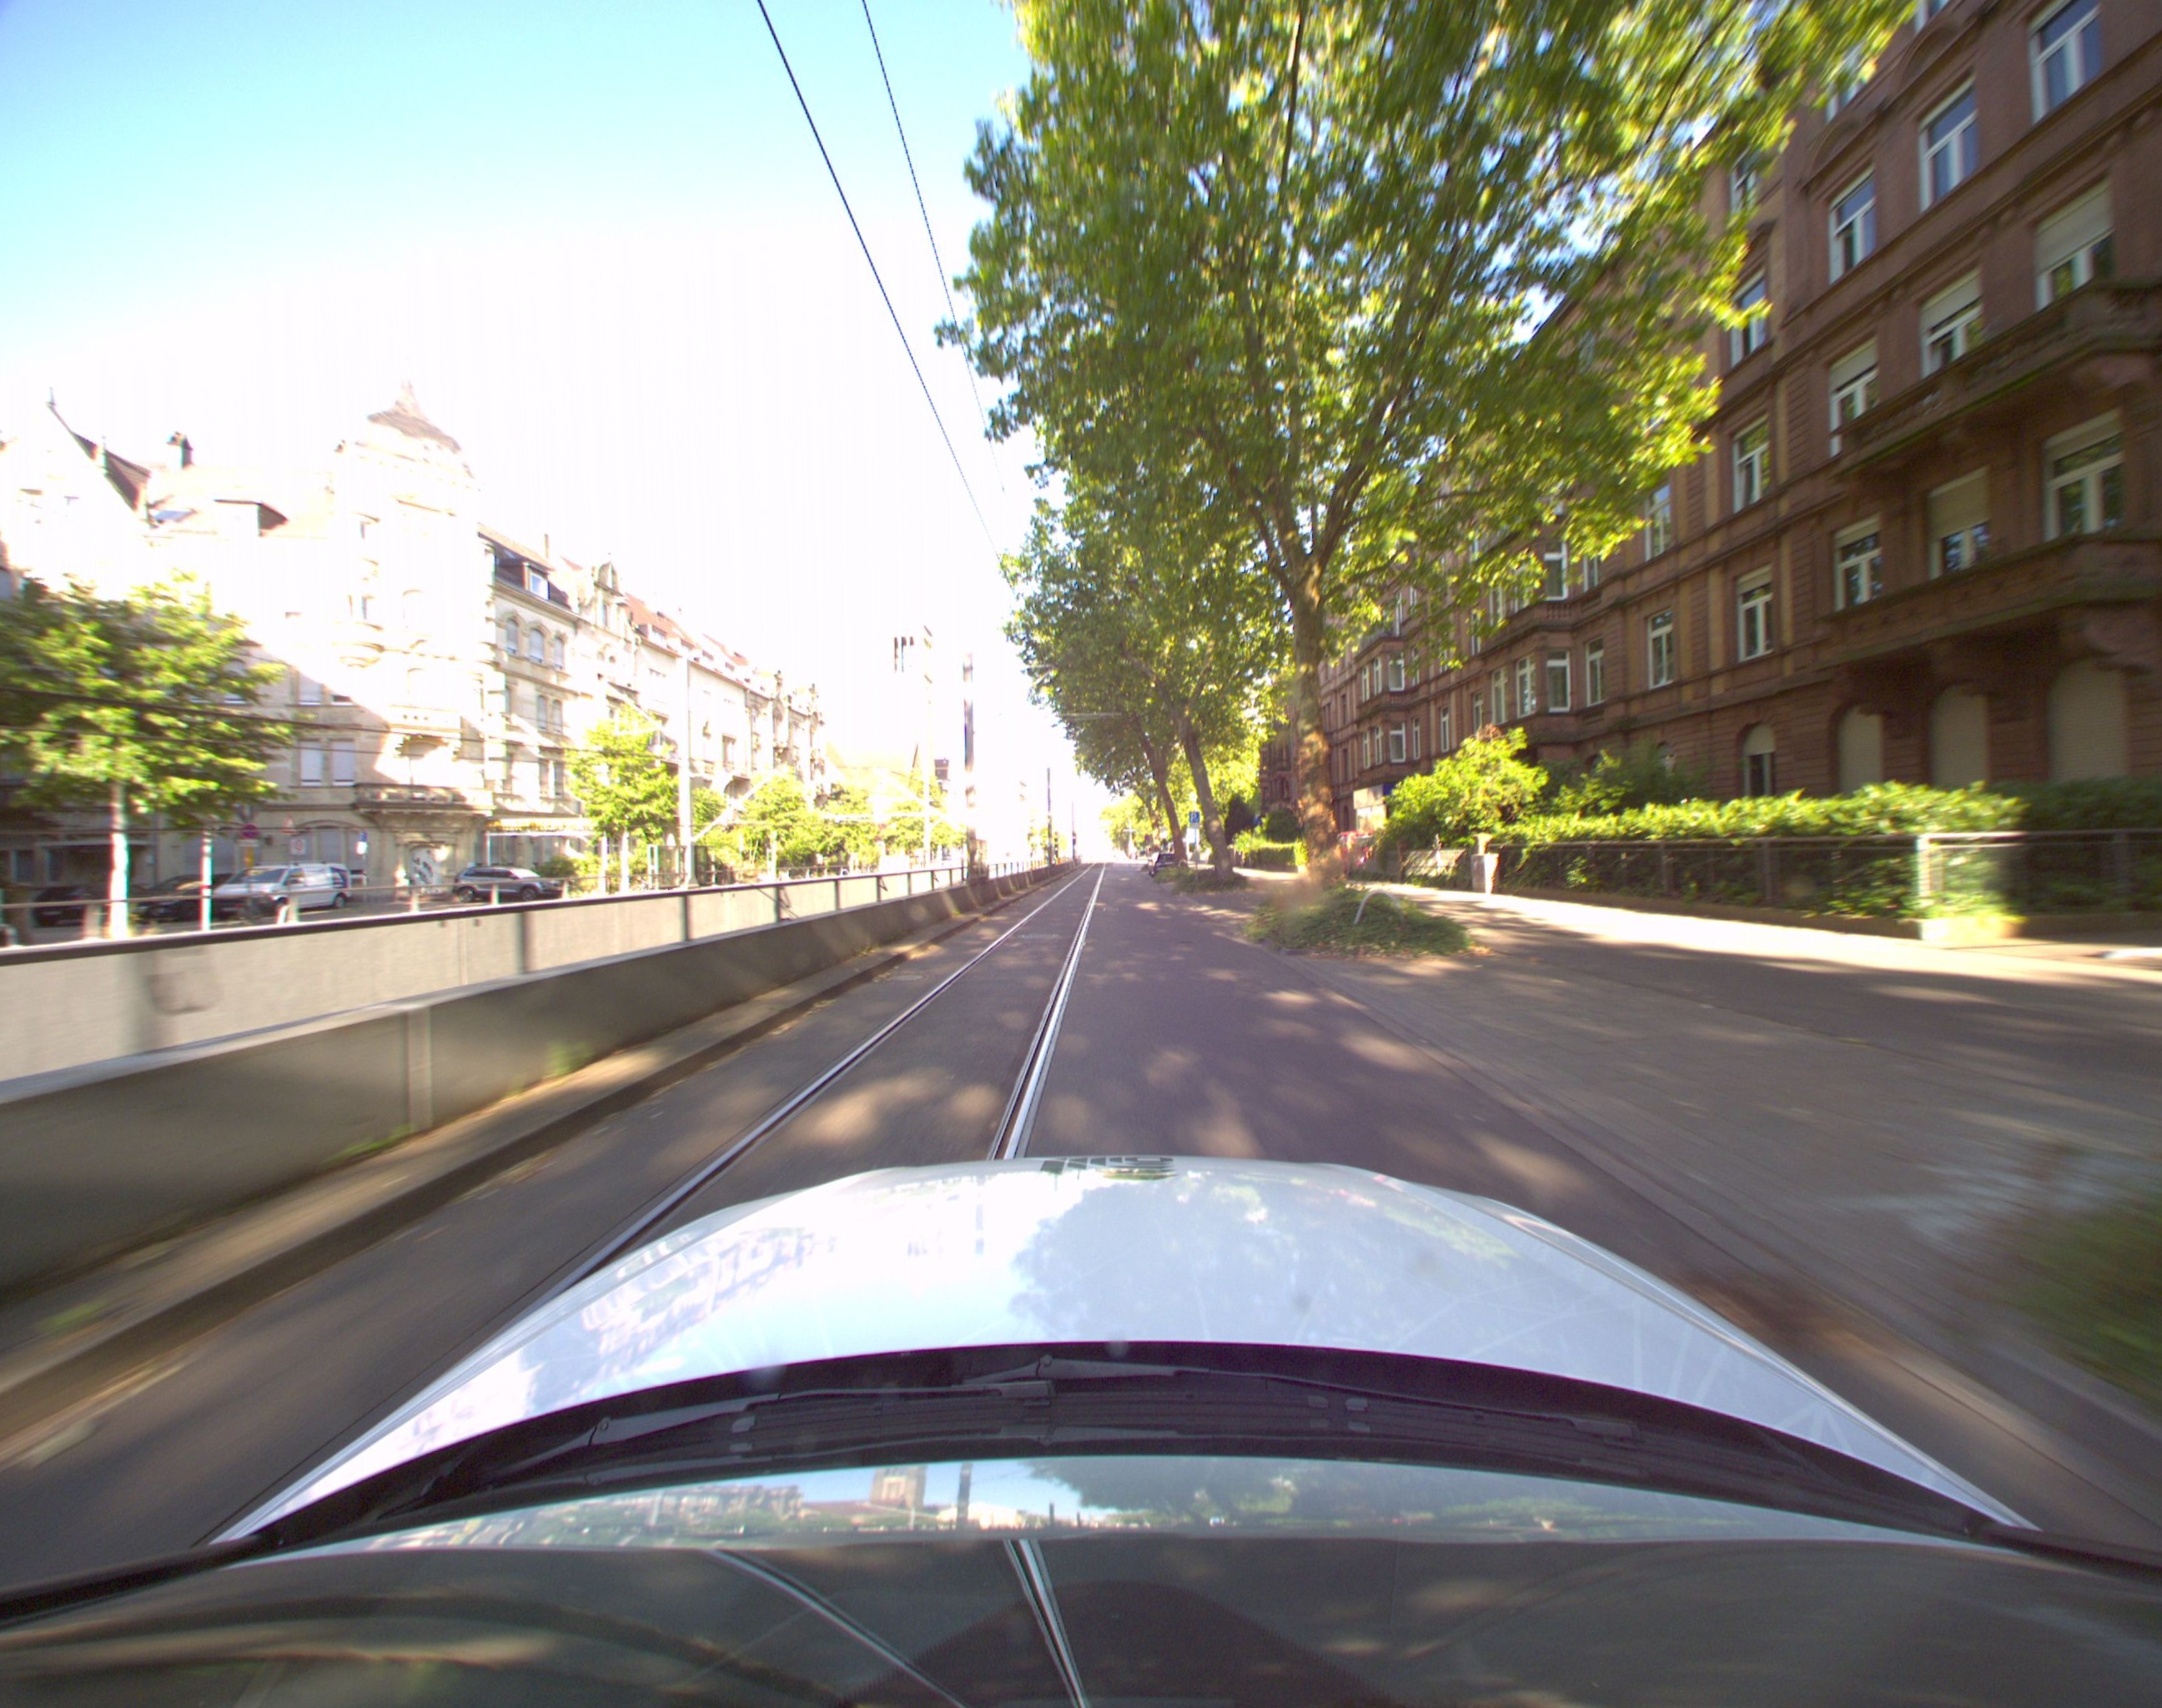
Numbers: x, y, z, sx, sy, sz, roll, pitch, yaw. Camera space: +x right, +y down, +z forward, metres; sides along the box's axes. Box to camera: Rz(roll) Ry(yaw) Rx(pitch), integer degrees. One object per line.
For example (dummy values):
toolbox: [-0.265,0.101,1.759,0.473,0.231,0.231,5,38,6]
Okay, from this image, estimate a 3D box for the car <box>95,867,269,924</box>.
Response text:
car: [-33.529,1.501,30.597,1.993,1.849,4.465,1,0,-10]

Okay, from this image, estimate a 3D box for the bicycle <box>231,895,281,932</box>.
bicycle: [-23.606,1.679,23.326,0.457,1.005,1.926,1,-3,-29]

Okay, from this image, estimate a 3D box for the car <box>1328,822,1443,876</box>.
car: [13.115,-0.207,35.277,4.163,2.013,2.000,-4,0,0]

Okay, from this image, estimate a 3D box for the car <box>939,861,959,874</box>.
car: [-17.337,1.794,107.132,1.708,1.555,4.515,1,0,4]

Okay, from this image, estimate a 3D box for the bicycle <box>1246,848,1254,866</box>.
bicycle: [11.610,0.210,55.880,0.336,1.250,1.770,1,0,6]

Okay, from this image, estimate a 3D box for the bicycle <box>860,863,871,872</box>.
bicycle: [-21.518,1.341,81.177,0.414,0.800,1.890,1,0,5]

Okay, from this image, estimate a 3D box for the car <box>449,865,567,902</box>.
car: [-26.007,1.312,37.098,3.983,1.624,1.821,0,0,-8]

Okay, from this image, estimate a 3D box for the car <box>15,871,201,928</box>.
car: [-36.145,1.631,30.480,1.993,1.849,4.465,1,0,-10]

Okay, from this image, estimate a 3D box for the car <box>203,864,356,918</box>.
car: [-30.891,1.374,31.618,1.993,1.849,4.465,1,0,-10]

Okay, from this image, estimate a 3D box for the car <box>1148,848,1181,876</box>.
car: [5.117,0.459,50.171,1.610,1.587,4.418,-2,0,1]

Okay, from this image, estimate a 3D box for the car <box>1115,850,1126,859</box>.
car: [7.158,0.070,147.906,1.739,1.462,3.645,1,0,1]

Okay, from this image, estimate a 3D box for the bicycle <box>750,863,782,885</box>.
bicycle: [-19.335,1.219,49.972,1.721,1.280,0.601,-1,0,7]

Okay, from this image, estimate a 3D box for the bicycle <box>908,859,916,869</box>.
bicycle: [-18.060,1.110,86.912,0.487,1.022,1.879,1,0,-22]
